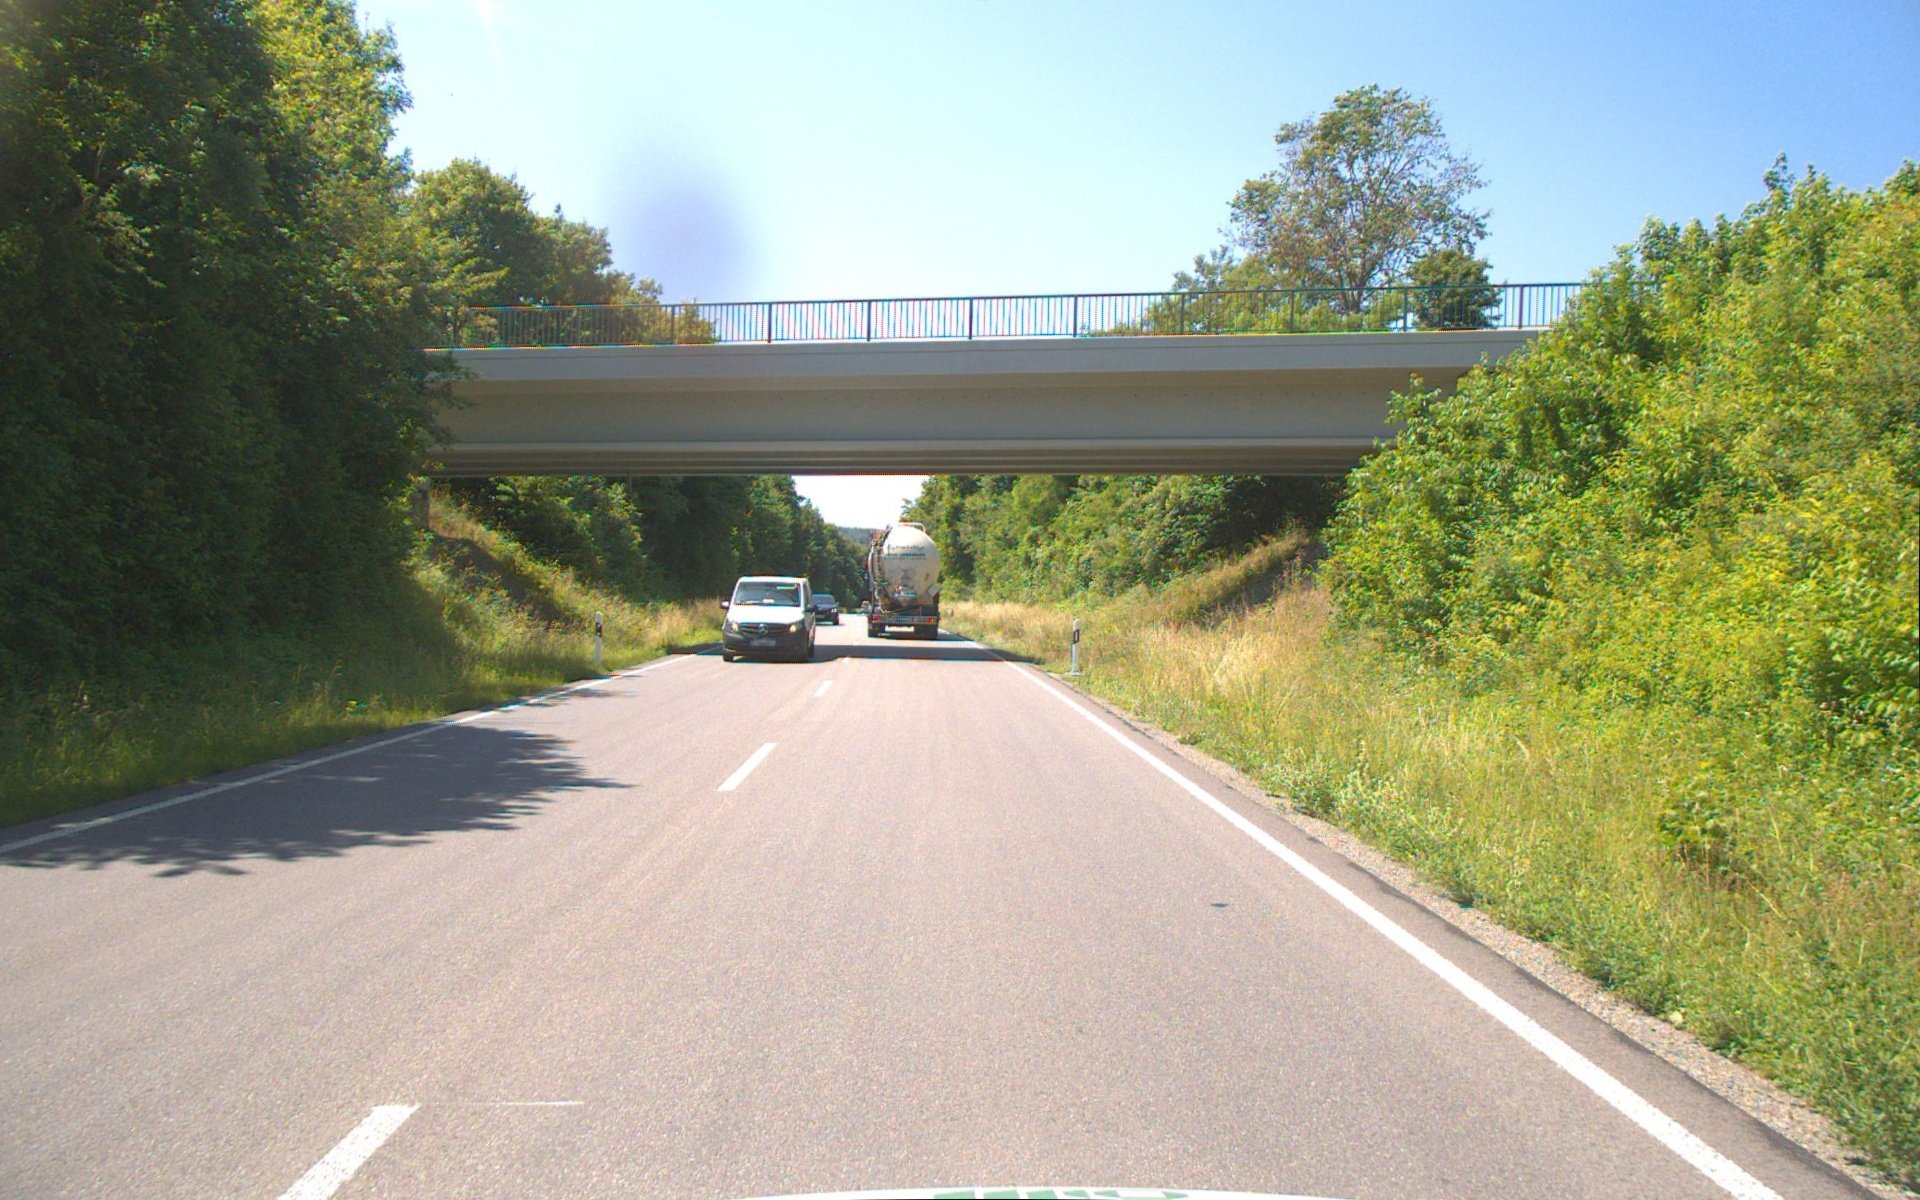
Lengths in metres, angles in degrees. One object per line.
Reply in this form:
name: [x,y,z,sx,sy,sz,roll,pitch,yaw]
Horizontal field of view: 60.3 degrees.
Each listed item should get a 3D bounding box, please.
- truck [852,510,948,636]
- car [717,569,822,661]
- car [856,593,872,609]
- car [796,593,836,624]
truck: [-2.412,-0.799,63.271,2.989,4.068,15.625,3,-1,-3]
car: [-4.291,0.308,37.974,1.892,1.939,5.325,1,0,-1]
car: [-12.259,0.135,210.777,1.954,2.049,3.997,1,0,-4]
car: [-7.499,0.435,86.372,1.822,1.532,4.585,1,0,-2]
